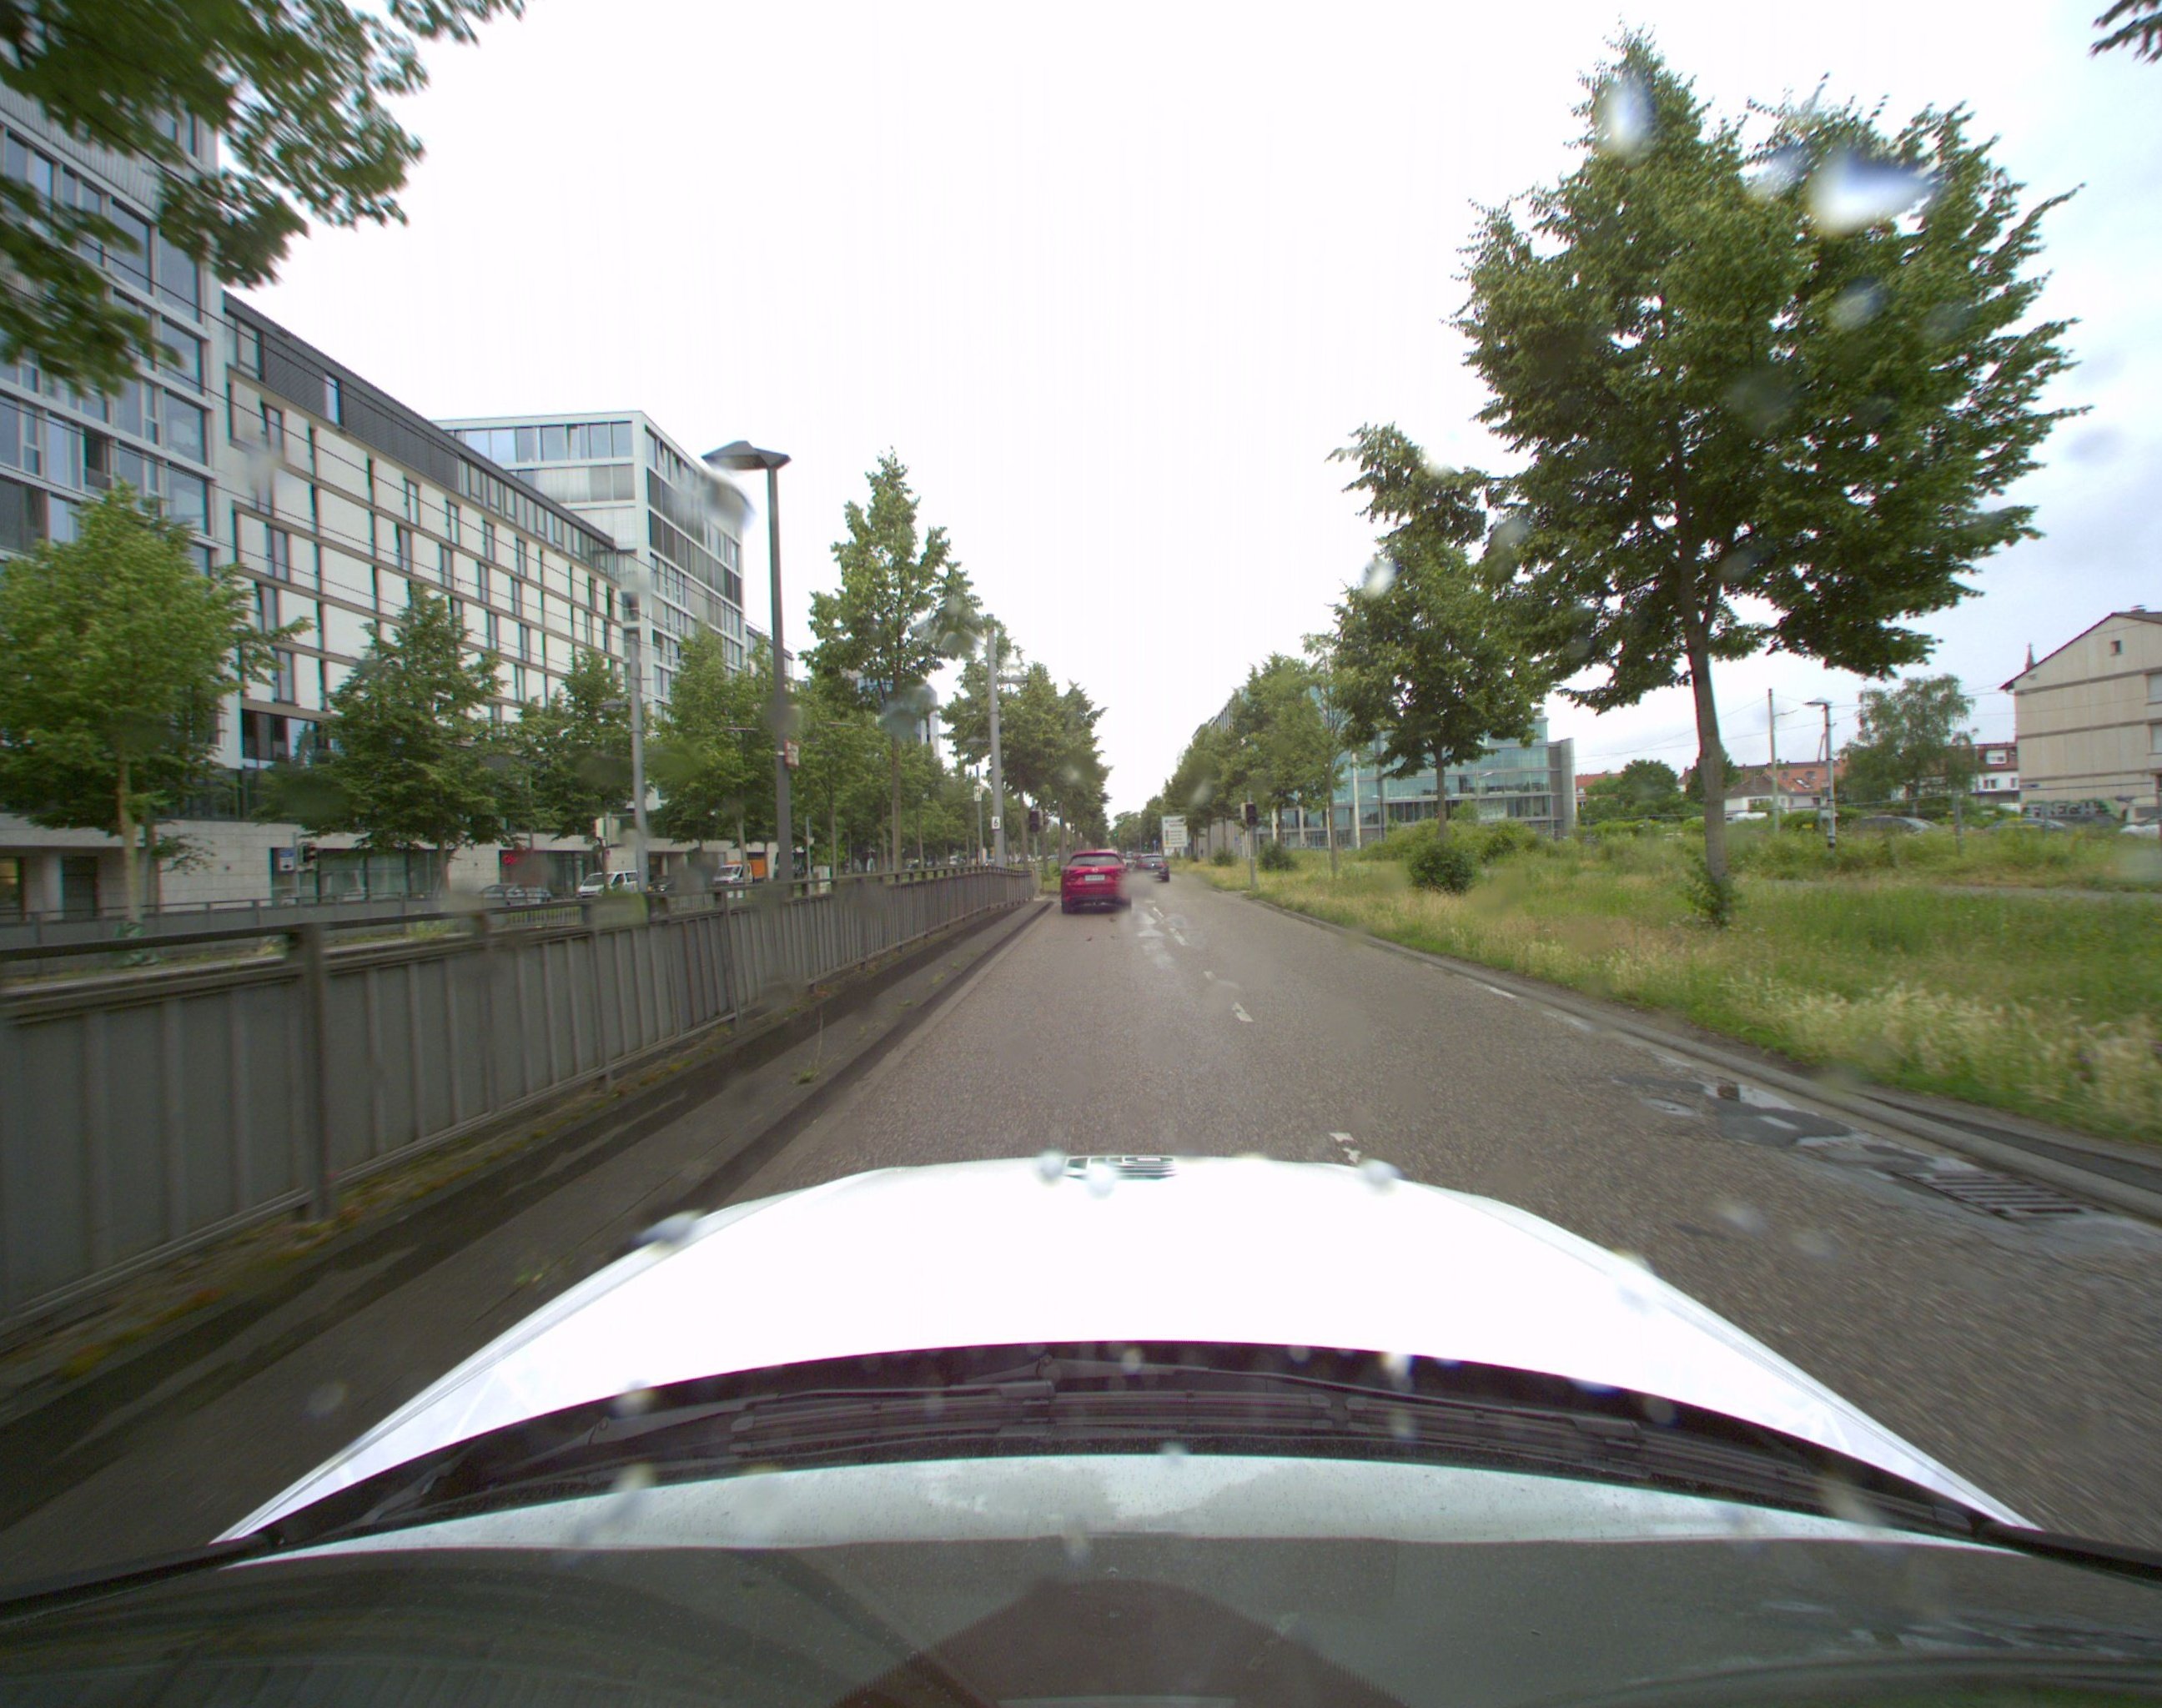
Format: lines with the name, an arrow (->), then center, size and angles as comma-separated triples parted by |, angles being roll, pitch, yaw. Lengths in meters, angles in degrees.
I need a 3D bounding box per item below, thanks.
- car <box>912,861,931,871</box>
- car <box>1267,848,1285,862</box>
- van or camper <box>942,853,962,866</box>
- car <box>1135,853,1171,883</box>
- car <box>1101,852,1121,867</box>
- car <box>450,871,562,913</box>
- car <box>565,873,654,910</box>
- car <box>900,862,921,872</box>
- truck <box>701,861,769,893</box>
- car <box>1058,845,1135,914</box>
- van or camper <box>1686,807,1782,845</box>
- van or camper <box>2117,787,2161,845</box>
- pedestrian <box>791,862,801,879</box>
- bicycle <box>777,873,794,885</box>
car -> -24.256, 1.847, 124.085 | 1.986, 1.378, 4.002 | -2, 0, 2
car -> 24.962, 0.113, 104.354 | 1.844, 1.581, 4.010 | -2, 0, 9
van or camper -> -23.759, 1.012, 150.348 | 2.424, 2.315, 5.852 | -2, 0, 2
car -> 3.720, 0.695, 42.766 | 1.736, 1.465, 3.784 | -2, 0, 3
car -> 3.072, 0.541, 83.906 | 1.961, 1.437, 4.552 | -1, 0, 0
car -> -27.191, 1.747, 38.736 | 2.138, 1.712, 4.462 | -2, 0, -1
car -> -27.103, 2.098, 47.061 | 1.986, 1.852, 5.166 | -2, 0, 1
car -> -24.604, 1.860, 117.374 | 1.986, 1.378, 4.002 | -2, 0, 2
truck -> -27.001, 1.729, 63.888 | 2.417, 2.291, 6.311 | -2, 0, 2
car -> 0.434, 0.637, 22.377 | 1.891, 1.677, 4.001 | -2, 0, 1
van or camper -> 57.223, -2.386, 71.598 | 2.897, 2.994, 6.775 | -2, 0, 0
van or camper -> 52.059, -1.863, 36.790 | 2.301, 2.689, 6.394 | -3, 0, -1
pedestrian -> -34.832, 2.038, 99.486 | 0.789, 1.981, 0.858 | -2, 0, 9
bicycle -> -24.533, 2.073, 67.580 | 0.596, 0.945, 1.760 | -3, 0, 5
